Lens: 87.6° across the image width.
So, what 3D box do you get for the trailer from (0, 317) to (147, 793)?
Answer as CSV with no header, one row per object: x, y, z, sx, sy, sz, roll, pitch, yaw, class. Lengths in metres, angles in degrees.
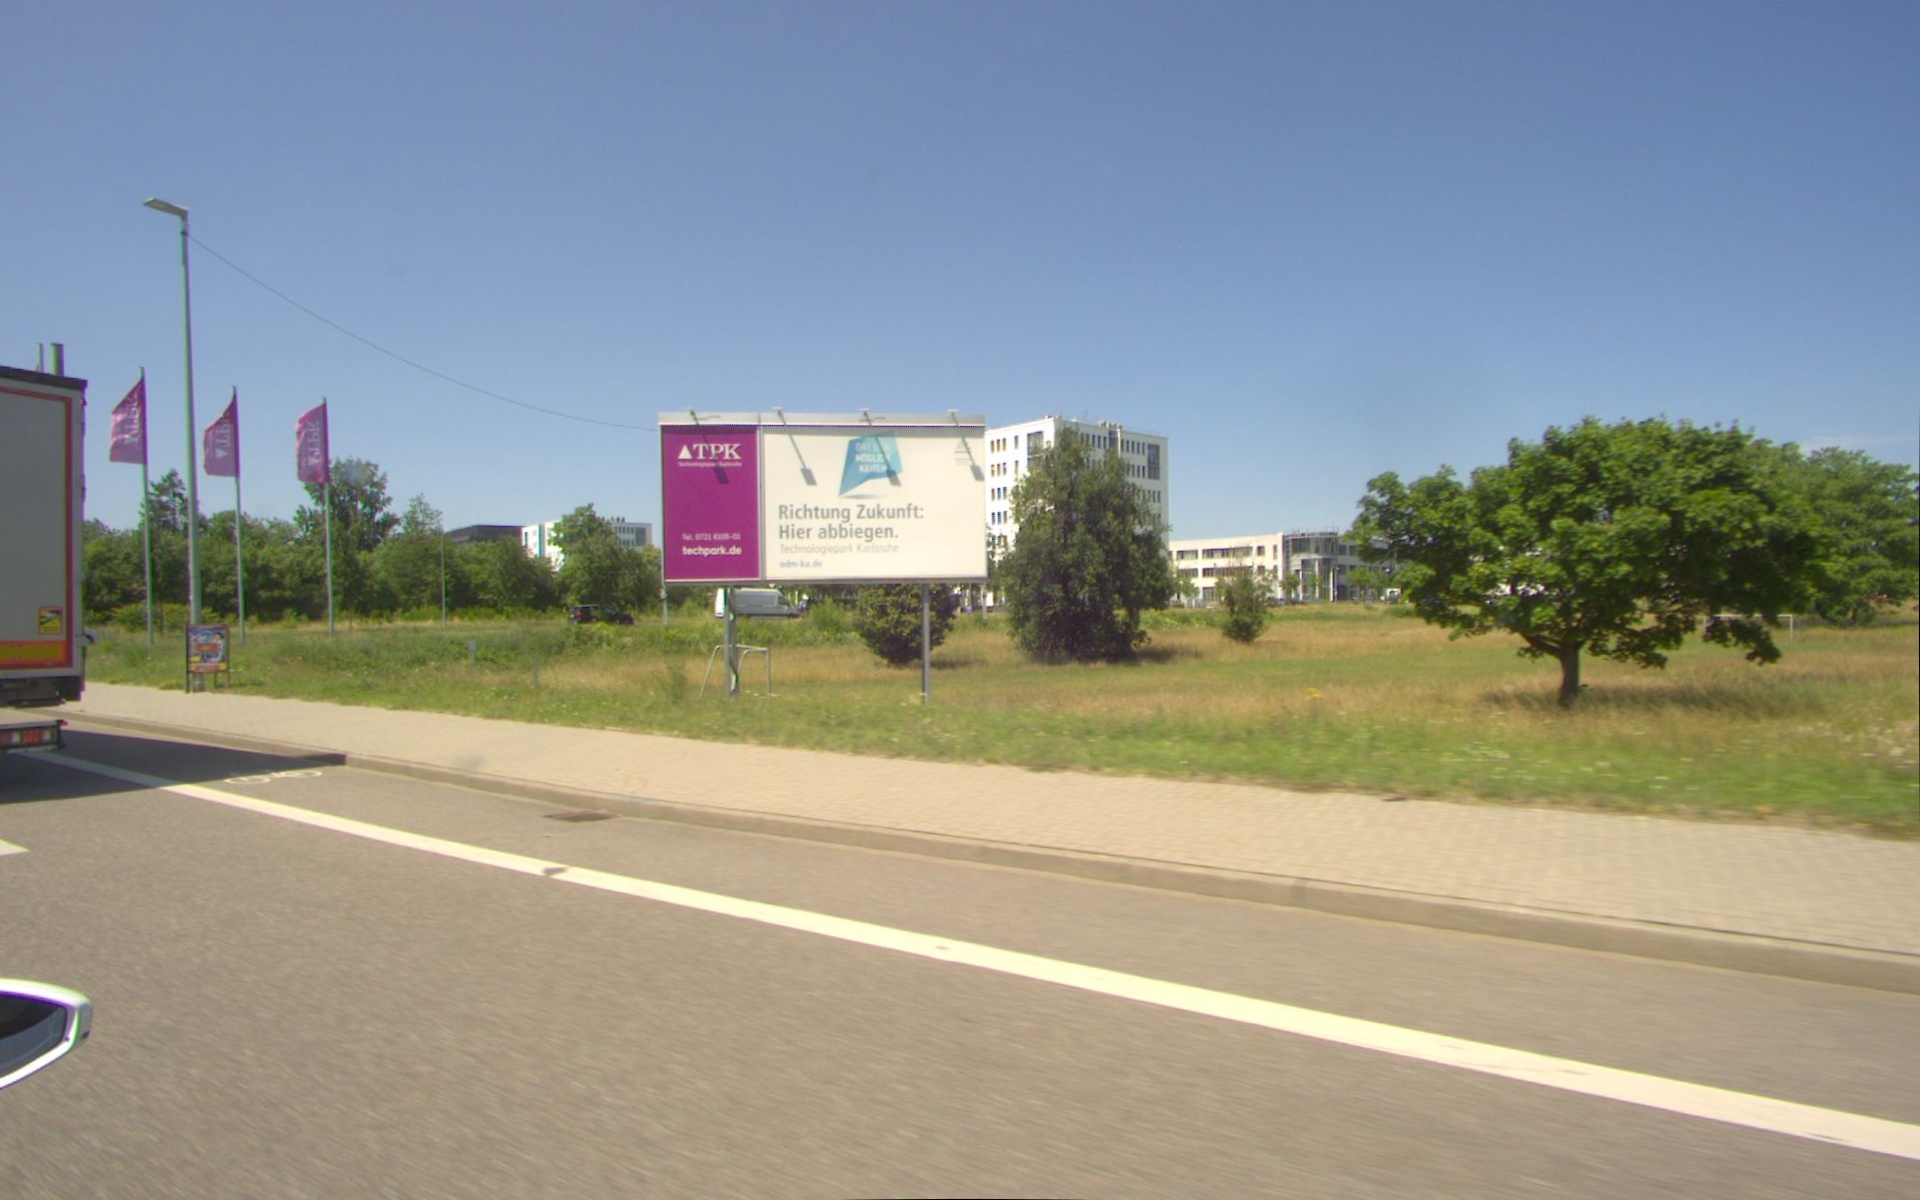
-12.766,-0.360,10.593,9.658,4.123,3.075,0,-1,29,trailer

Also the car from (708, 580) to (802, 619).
-15.685,0.038,77.052,2.640,2.838,6.793,-2,-1,43,car

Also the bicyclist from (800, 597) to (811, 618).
-12.771,0.606,82.683,0.603,1.646,0.686,3,4,44,bicyclist

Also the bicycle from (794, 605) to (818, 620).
-12.731,1.008,82.756,0.607,1.196,1.947,3,3,43,bicycle

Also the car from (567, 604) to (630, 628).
-24.154,1.074,67.016,1.685,1.552,3.602,0,-2,39,car
